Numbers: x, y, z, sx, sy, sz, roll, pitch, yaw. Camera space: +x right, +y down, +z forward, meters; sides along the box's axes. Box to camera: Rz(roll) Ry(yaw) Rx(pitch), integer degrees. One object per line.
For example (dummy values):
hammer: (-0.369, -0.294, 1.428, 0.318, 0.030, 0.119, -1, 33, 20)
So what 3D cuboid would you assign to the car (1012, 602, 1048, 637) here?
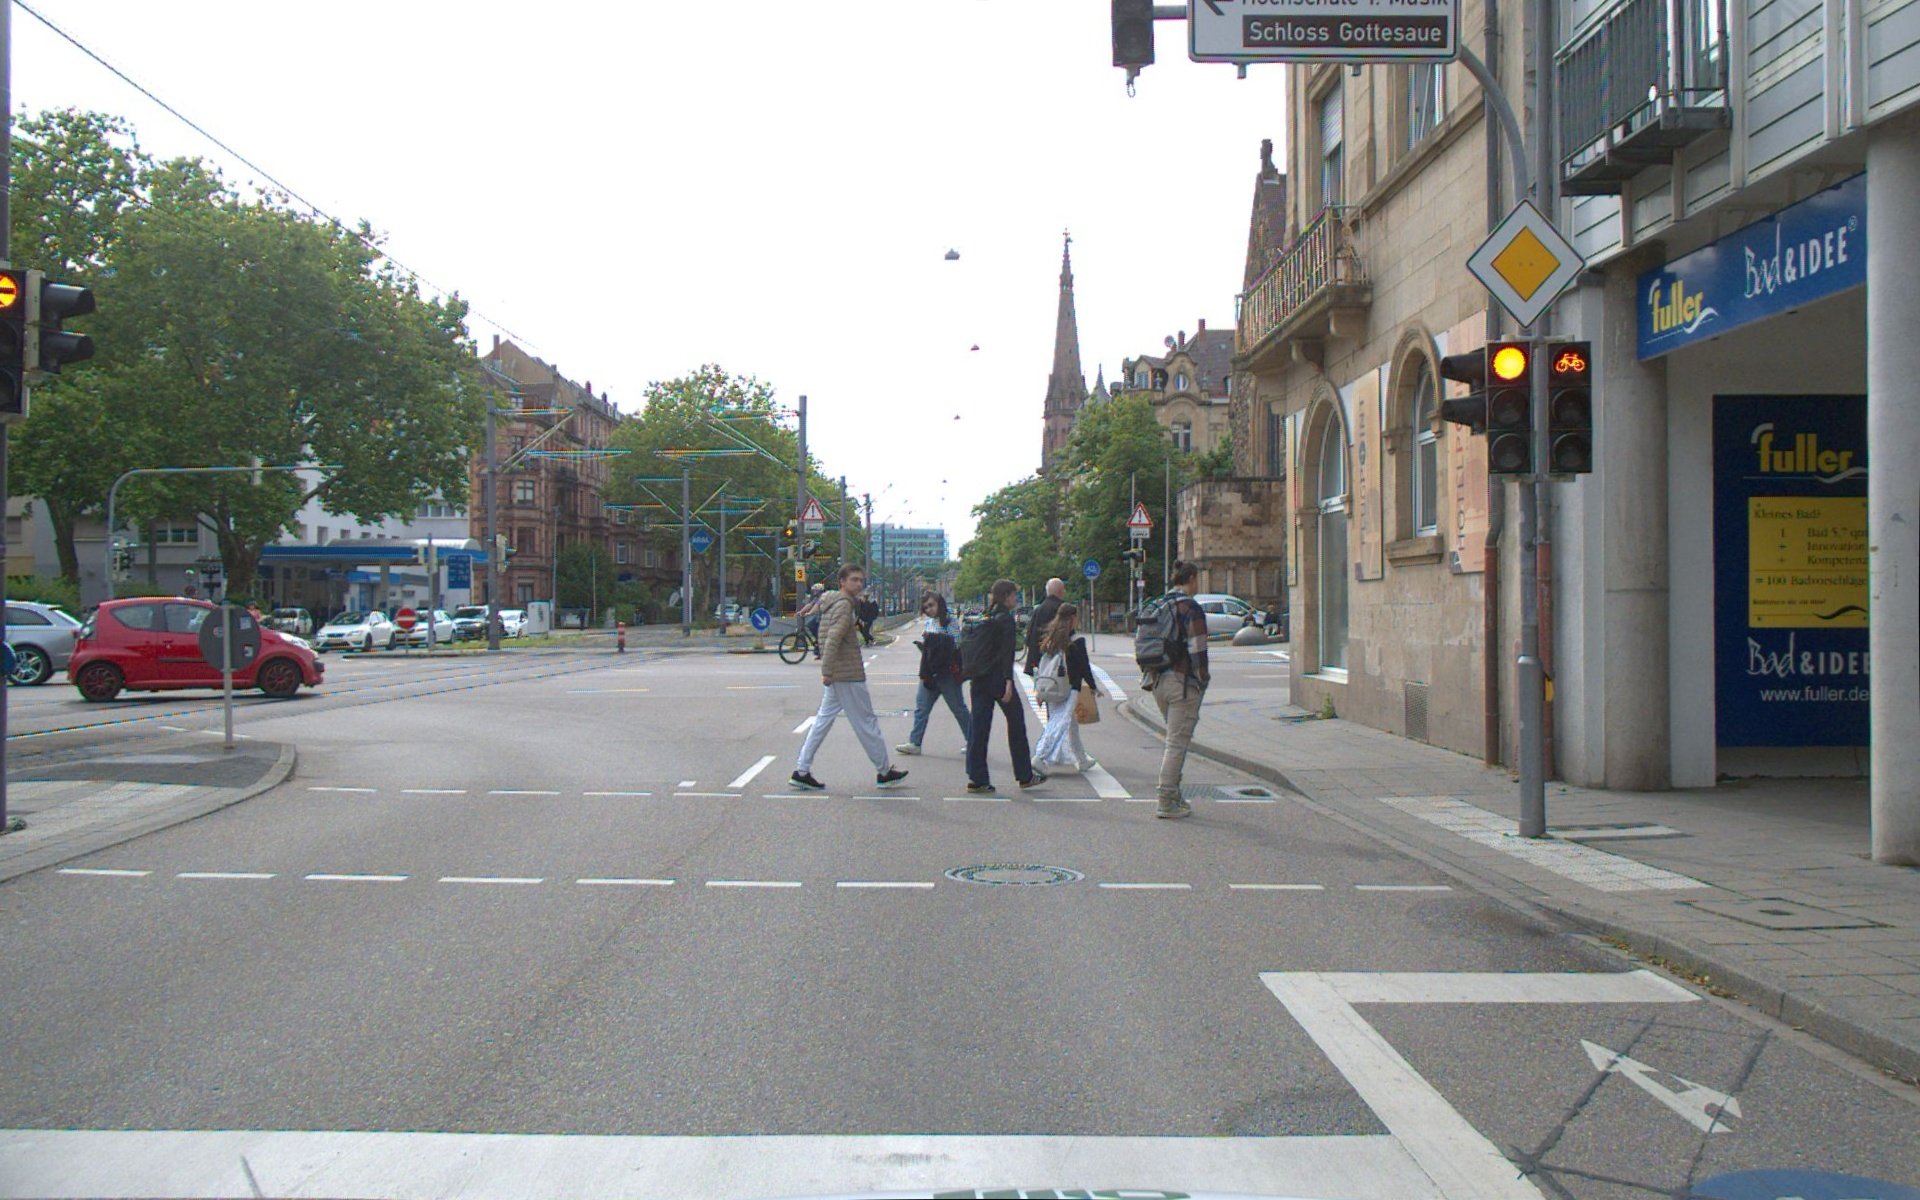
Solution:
car: (4.221, 1.166, 100.144, 1.953, 2.049, 3.999, 1, 0, -1)

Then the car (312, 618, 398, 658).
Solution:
car: (-21.521, 1.335, 58.989, 1.601, 1.349, 3.999, 1, 0, -1)

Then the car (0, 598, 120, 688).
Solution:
car: (-17.297, 0.717, 28.728, 4.653, 1.536, 1.826, 1, -1, -23)

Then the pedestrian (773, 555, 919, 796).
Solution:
pedestrian: (-0.911, 0.587, 13.149, 0.998, 1.845, 0.580, 1, -1, -24)

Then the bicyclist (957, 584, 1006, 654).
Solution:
bicyclist: (0.532, 0.474, 41.229, 1.023, 1.713, 0.641, 1, -1, -21)

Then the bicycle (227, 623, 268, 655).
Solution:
bicycle: (-23.618, 1.281, 54.878, 0.511, 1.035, 1.936, 1, 0, -1)

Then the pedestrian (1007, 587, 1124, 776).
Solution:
pedestrian: (0.950, 0.707, 14.776, 0.689, 1.621, 0.828, 0, -1, 36)

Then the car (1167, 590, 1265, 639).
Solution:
car: (10.641, 0.609, 68.895, 3.721, 1.937, 2.000, 1, -1, -1)

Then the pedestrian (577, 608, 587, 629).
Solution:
pedestrian: (-26.398, 1.273, 115.433, 0.521, 1.486, 0.446, 2, -1, -42)

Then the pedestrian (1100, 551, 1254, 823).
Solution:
pedestrian: (1.540, 0.589, 11.667, 0.616, 1.810, 1.129, -1, -1, 36)

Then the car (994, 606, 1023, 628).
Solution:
car: (3.764, 1.291, 128.948, 1.953, 1.635, 4.163, -2, 0, -1)

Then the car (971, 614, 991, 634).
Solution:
car: (2.139, 2.521, 172.462, 1.953, 2.049, 3.999, 1, 0, -1)

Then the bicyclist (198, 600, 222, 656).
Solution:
bicyclist: (-24.730, 0.920, 54.531, 0.522, 1.815, 0.470, 1, -1, 19)

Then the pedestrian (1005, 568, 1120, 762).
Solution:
pedestrian: (0.996, 0.610, 16.075, 0.900, 1.815, 0.645, 0, -1, 37)

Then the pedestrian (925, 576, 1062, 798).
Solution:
pedestrian: (0.274, 0.666, 13.169, 0.616, 1.681, 0.993, 0, -1, 36)

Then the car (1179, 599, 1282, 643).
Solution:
car: (10.686, 0.825, 65.483, 3.721, 1.629, 2.000, 1, -1, -1)

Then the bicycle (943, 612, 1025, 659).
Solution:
bicycle: (0.607, 0.888, 41.297, 1.910, 1.155, 0.731, 1, -1, -22)

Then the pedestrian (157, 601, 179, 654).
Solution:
pedestrian: (-27.322, 0.961, 57.074, 0.367, 1.815, 0.551, 1, -1, 30)

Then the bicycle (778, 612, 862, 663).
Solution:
bicycle: (-3.280, 0.885, 38.743, 1.880, 1.162, 0.622, 1, -1, -30)

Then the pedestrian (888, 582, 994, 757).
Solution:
pedestrian: (-0.188, 0.688, 16.750, 0.659, 1.709, 0.864, 0, -1, 38)

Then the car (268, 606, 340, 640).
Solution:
car: (-31.851, 1.108, 80.409, 1.953, 1.557, 3.999, 1, 0, -1)

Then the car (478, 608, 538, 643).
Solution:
car: (-21.642, 1.212, 79.338, 1.856, 1.585, 3.835, 1, 0, -1)

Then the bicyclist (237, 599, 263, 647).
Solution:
bicyclist: (-23.640, 0.766, 55.046, 0.576, 1.595, 0.618, 1, -1, -1)

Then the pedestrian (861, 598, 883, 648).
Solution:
pedestrian: (-2.770, 0.727, 52.176, 0.640, 1.564, 0.465, 1, -1, -5)

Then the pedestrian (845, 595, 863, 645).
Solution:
pedestrian: (-3.381, 0.628, 52.715, 0.535, 1.564, 0.465, 1, -1, -5)

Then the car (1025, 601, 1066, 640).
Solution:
car: (4.649, 1.105, 90.576, 1.953, 2.049, 3.999, 1, 0, -1)

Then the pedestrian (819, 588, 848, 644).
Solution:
pedestrian: (-3.814, 0.475, 49.984, 0.834, 1.683, 0.508, 1, -1, -3)

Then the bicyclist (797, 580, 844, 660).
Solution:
bicyclist: (-3.271, 0.470, 38.766, 0.955, 1.851, 0.527, 1, -1, -30)

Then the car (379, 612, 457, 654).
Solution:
car: (-21.383, 1.286, 65.377, 1.856, 1.585, 3.835, 1, 0, -1)

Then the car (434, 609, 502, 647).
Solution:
car: (-21.480, 1.207, 72.305, 1.856, 1.585, 3.835, 1, 0, -1)
